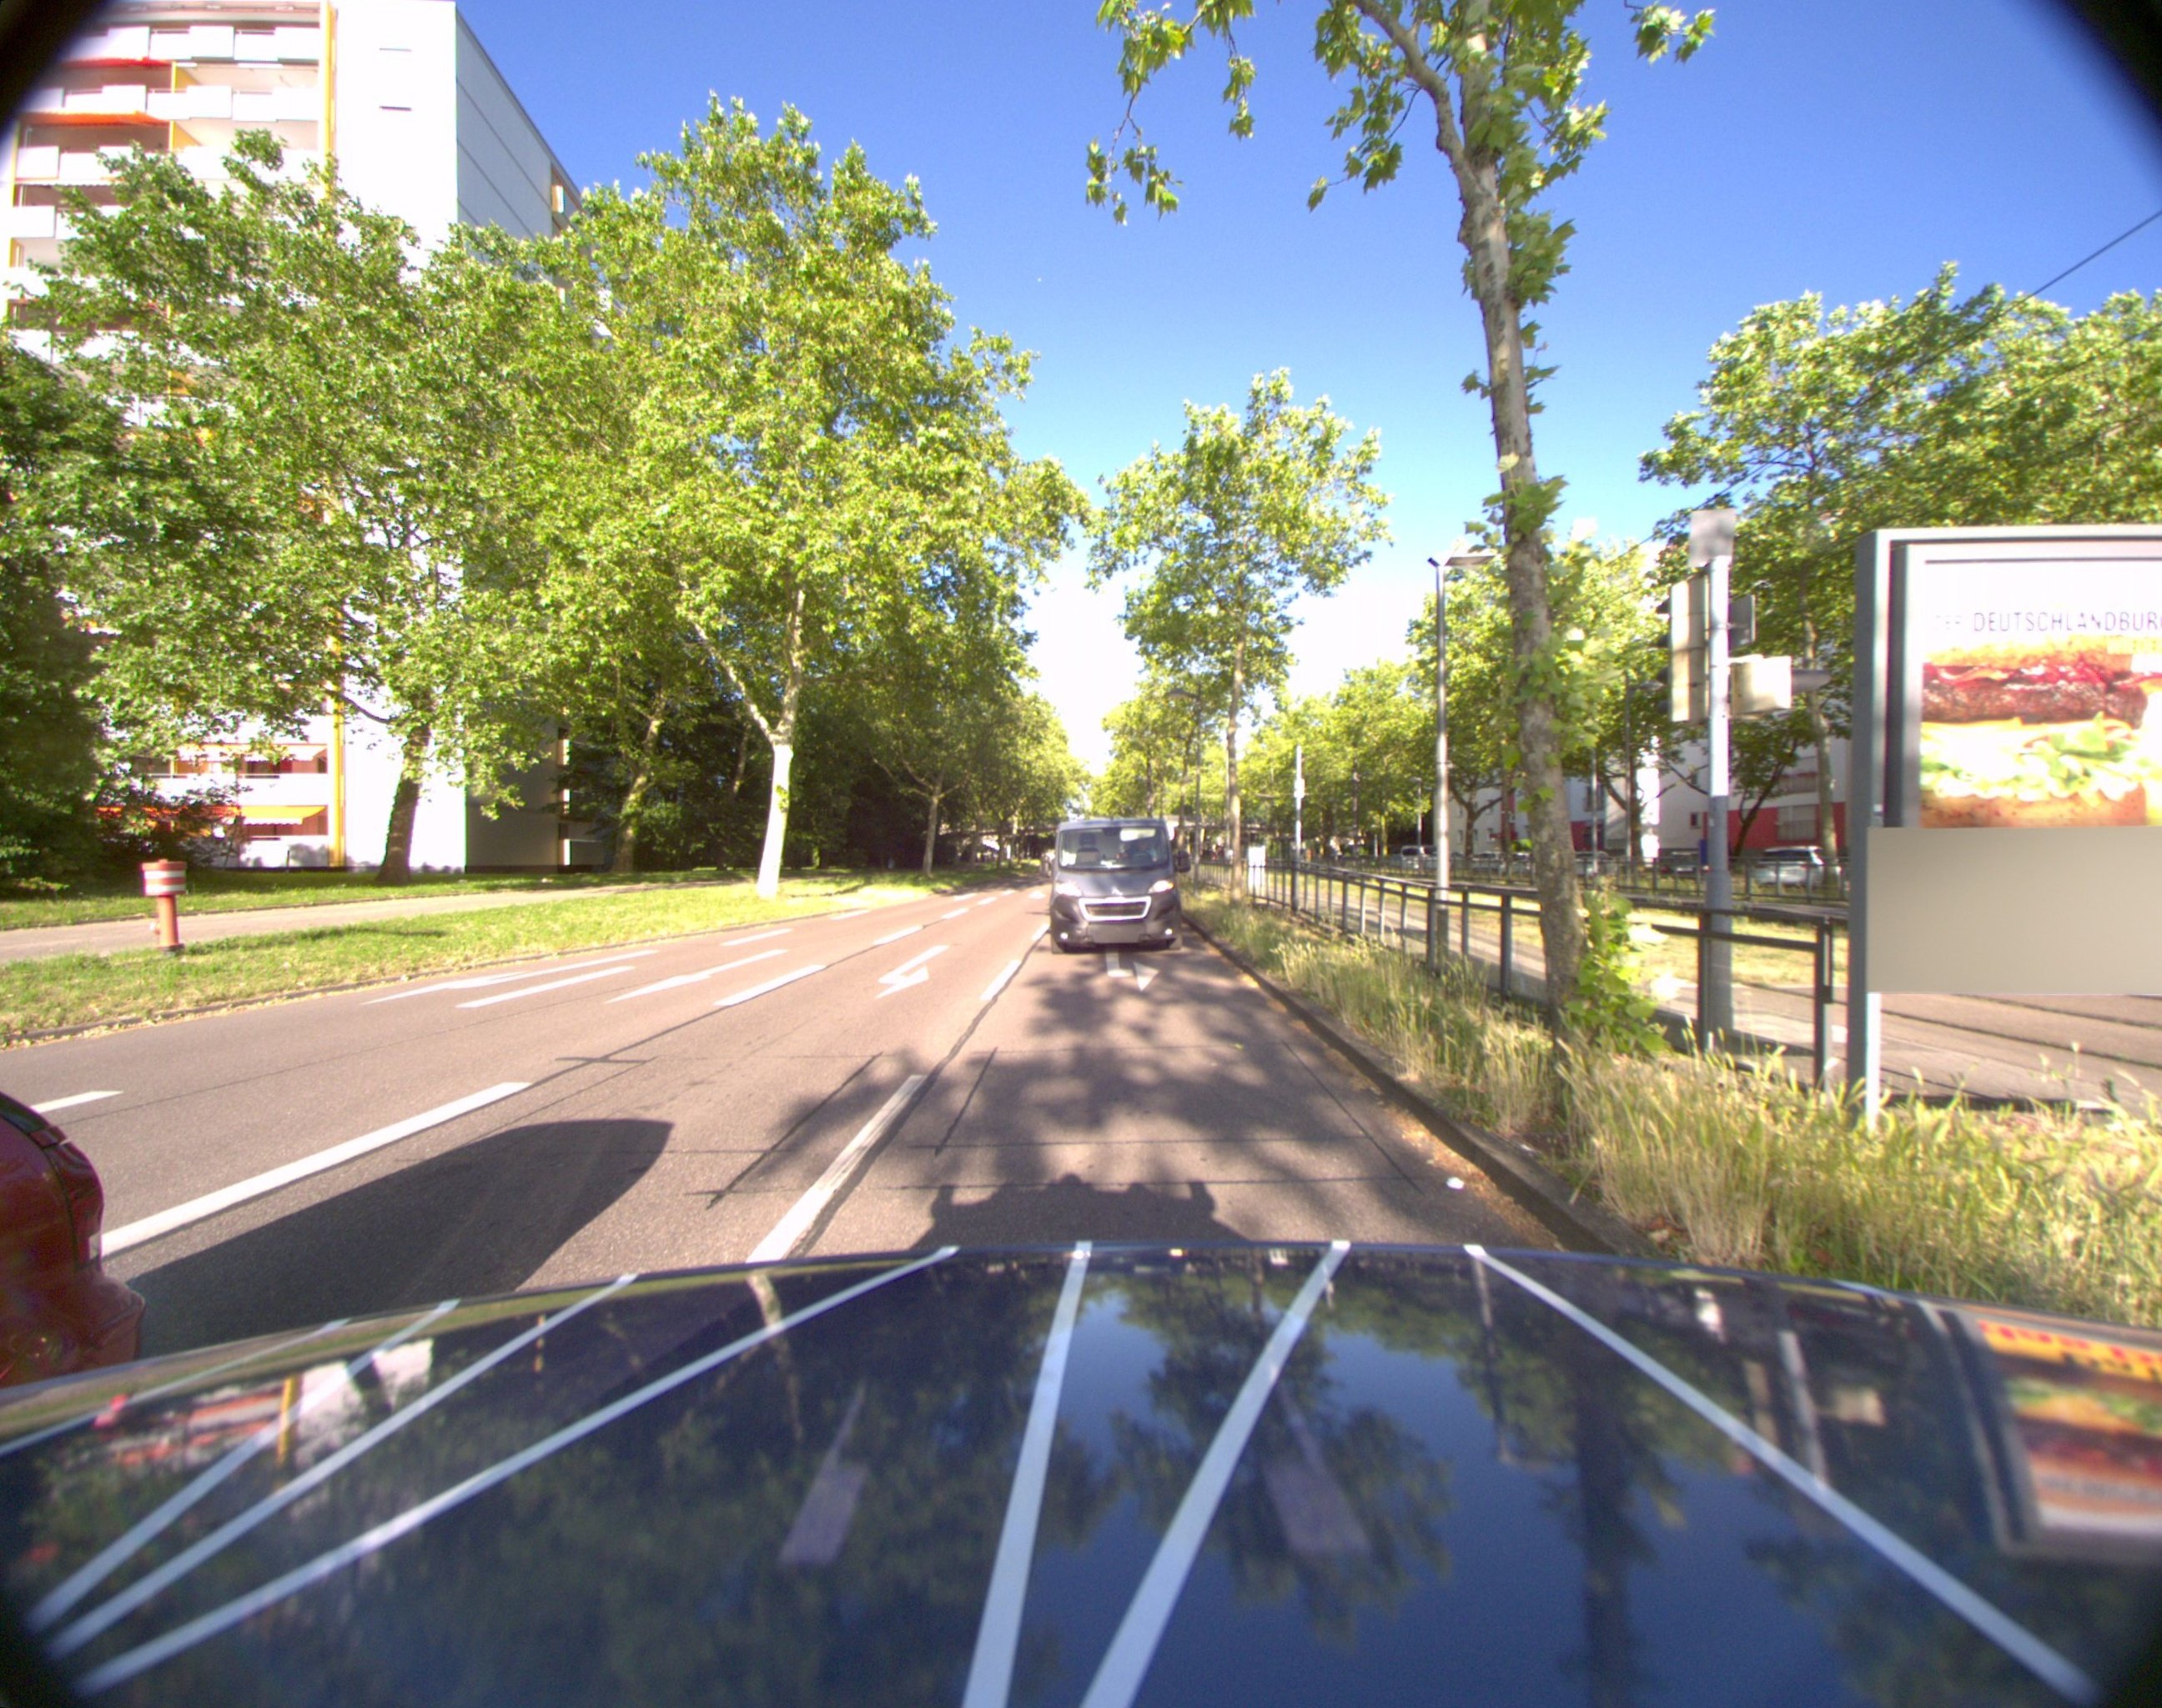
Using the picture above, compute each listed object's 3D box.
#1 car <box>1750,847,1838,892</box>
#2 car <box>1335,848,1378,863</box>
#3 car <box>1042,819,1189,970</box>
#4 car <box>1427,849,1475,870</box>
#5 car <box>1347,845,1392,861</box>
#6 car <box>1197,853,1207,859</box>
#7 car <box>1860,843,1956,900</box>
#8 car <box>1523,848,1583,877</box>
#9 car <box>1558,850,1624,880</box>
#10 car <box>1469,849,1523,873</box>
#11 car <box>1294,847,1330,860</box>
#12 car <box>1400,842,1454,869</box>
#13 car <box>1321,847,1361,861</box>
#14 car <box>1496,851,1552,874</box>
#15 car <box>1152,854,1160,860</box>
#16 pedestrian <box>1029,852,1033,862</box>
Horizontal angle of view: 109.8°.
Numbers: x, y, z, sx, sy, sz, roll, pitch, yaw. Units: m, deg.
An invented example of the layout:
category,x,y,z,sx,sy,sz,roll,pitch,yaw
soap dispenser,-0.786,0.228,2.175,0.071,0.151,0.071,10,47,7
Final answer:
category,x,y,z,sx,sy,sz,roll,pitch,yaw
car,25.055,0.497,26.670,3.689,1.425,1.683,-1,1,-38
car,26.587,0.101,73.262,4.376,1.367,1.919,-1,1,-39
car,0.530,0.563,13.422,2.040,2.102,5.113,-1,0,1
car,26.244,0.350,53.882,3.689,1.388,1.645,-1,1,-39
car,26.713,-0.083,70.276,4.376,1.367,1.919,-1,1,-39
car,25.901,0.380,163.255,1.672,1.351,3.295,-1,0,1
car,25.017,0.465,22.944,3.689,1.558,1.683,-1,1,-38
car,25.809,0.432,41.502,3.689,1.440,1.645,-1,1,-39
car,25.329,0.503,37.674,3.689,1.384,1.645,-1,1,-38
car,25.955,0.417,47.479,3.689,1.440,1.645,-1,1,-39
car,27.200,-0.058,89.412,4.376,1.367,1.919,-1,1,-39
car,25.959,0.087,56.976,4.376,1.873,1.919,-1,1,-39
car,27.241,0.026,79.558,4.376,1.367,1.919,-1,1,-39
car,26.199,0.484,44.944,3.689,1.234,1.645,-1,1,-39
car,20.935,0.831,212.508,1.923,1.565,4.368,-1,0,2
pedestrian,-6.944,0.402,105.838,0.417,1.454,0.399,-1,1,1
